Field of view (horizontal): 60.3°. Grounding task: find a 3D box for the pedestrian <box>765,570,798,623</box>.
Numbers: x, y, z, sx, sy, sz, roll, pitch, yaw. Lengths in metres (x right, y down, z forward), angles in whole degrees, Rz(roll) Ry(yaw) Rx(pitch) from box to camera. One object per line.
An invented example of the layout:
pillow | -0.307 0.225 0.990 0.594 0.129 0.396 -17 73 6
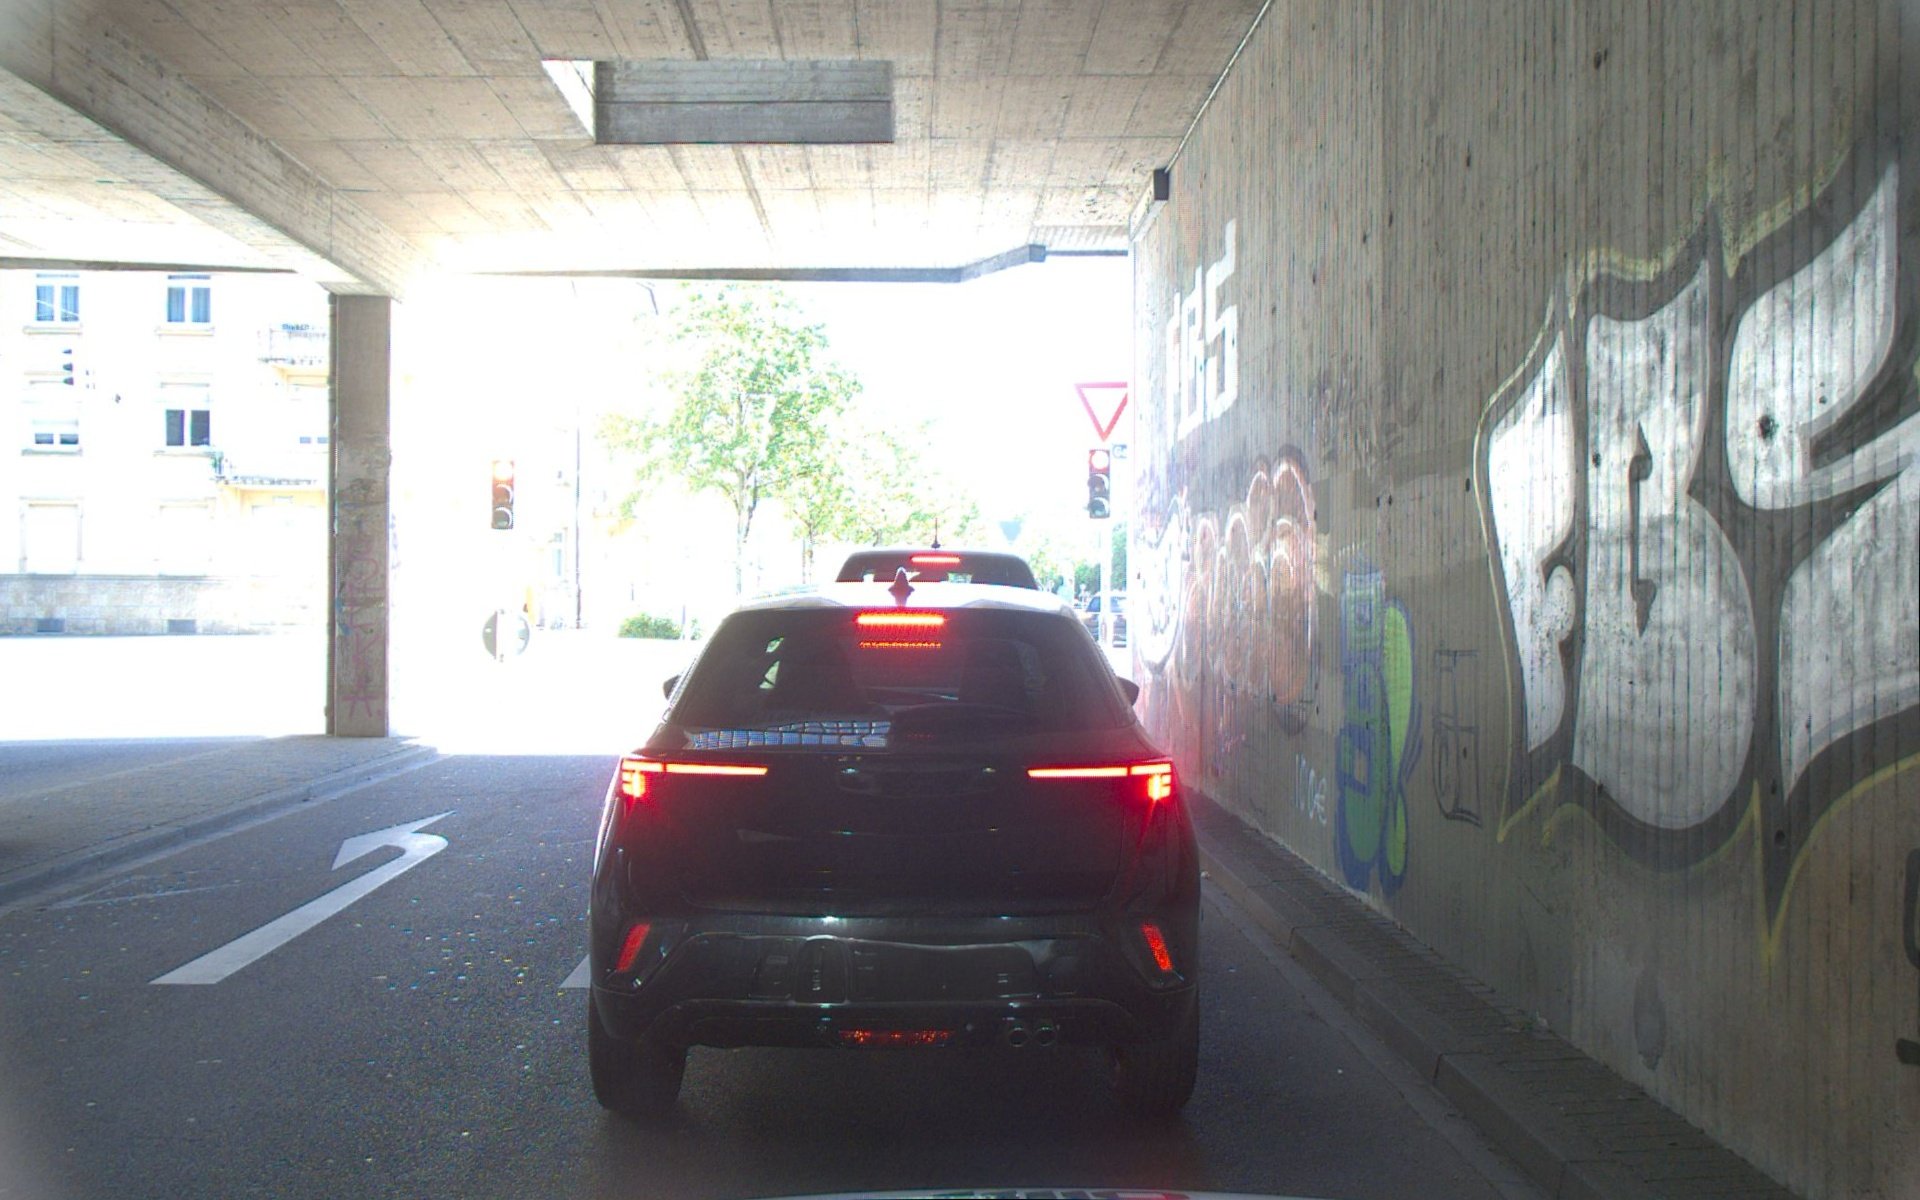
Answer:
pedestrian | -5.542 -0.096 51.317 0.720 1.612 0.891 1 -1 15

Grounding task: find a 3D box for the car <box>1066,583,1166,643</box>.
car | 4.342 0.334 45.378 1.951 1.561 4.738 0 0 15

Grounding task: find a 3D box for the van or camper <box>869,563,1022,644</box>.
van or camper | -0.346 0.085 43.450 3.795 2.049 2.002 0 0 7

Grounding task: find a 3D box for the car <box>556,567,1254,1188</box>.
car | -0.150 0.687 6.137 1.718 1.525 4.000 1 0 -1

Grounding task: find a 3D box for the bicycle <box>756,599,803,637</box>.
bicycle | -5.569 0.549 51.231 0.721 1.150 2.027 0 0 16

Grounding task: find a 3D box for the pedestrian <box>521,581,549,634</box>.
pedestrian | -13.931 0.250 54.227 0.609 1.734 0.724 1 -1 13

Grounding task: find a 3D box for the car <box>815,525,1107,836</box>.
car | -0.017 0.479 12.033 1.749 1.865 3.960 1 0 -1
